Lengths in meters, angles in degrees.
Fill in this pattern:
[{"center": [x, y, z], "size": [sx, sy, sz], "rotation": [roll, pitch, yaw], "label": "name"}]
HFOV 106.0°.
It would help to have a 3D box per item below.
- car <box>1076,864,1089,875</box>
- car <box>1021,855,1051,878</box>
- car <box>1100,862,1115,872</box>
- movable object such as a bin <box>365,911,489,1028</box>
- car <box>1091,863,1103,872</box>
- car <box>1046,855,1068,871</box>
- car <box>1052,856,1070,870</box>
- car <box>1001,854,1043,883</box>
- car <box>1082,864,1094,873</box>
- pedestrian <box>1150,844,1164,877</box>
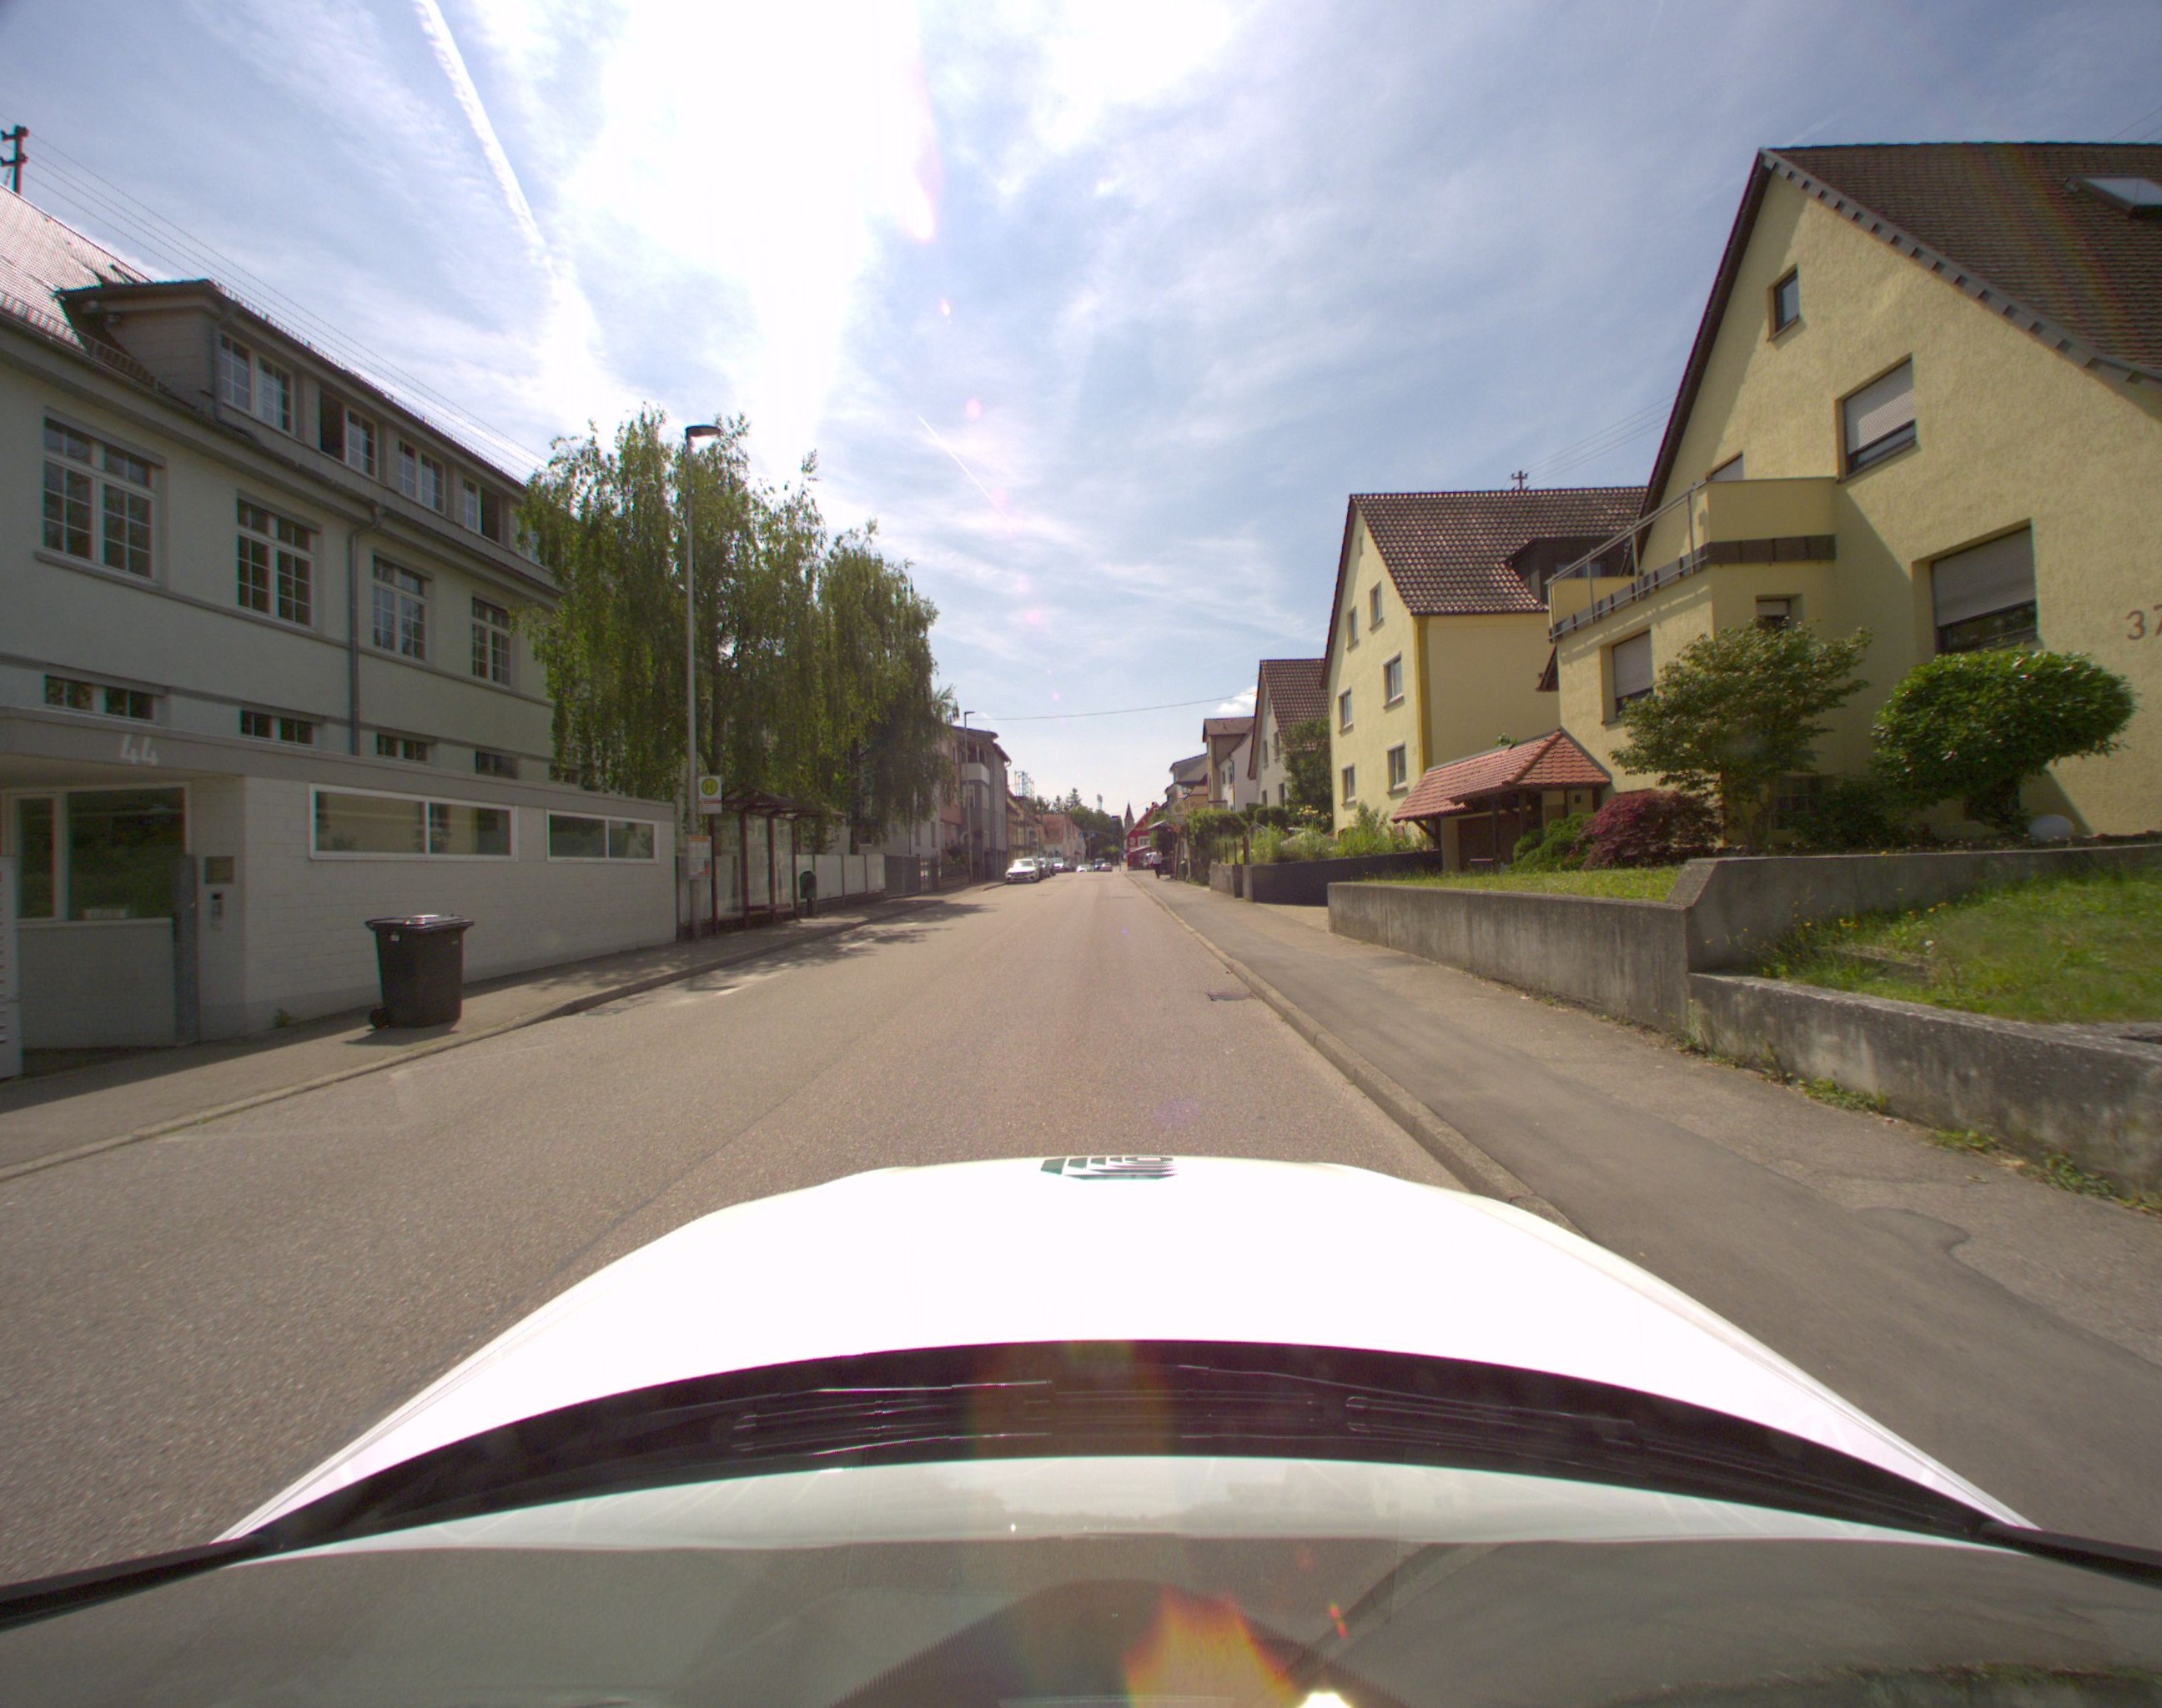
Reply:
[{"center": [0.284, 2.478, 131.298], "size": [1.833, 1.464, 4.002], "rotation": [-3, 0, 2], "label": "car"}, {"center": [-3.333, 0.901, 60.864], "size": [1.987, 1.560, 4.313], "rotation": [-2, 0, 0], "label": "car"}, {"center": [4.140, 2.027, 127.619], "size": [1.988, 1.560, 4.311], "rotation": [-2, 0, -1], "label": "car"}, {"center": [-6.507, 1.127, 8.133], "size": [0.605, 1.046, 0.725], "rotation": [-1, 1, 1], "label": "movable object such as a bin"}, {"center": [3.092, 2.585, 157.644], "size": [1.831, 1.464, 4.006], "rotation": [-3, 0, 5], "label": "car"}, {"center": [-2.516, 0.952, 85.206], "size": [1.986, 1.560, 4.315], "rotation": [-3, 0, 1], "label": "car"}, {"center": [-2.432, 1.087, 98.471], "size": [1.987, 1.560, 4.313], "rotation": [-3, 0, 0], "label": "car"}, {"center": [-3.526, 0.843, 49.571], "size": [2.103, 1.560, 4.315], "rotation": [-2, 0, 1], "label": "car"}, {"center": [1.216, 2.470, 142.001], "size": [1.832, 1.464, 4.003], "rotation": [-3, 0, 3], "label": "car"}, {"center": [4.163, 0.352, 44.606], "size": [0.644, 1.729, 0.609], "rotation": [-4, 0, 1], "label": "pedestrian"}]
